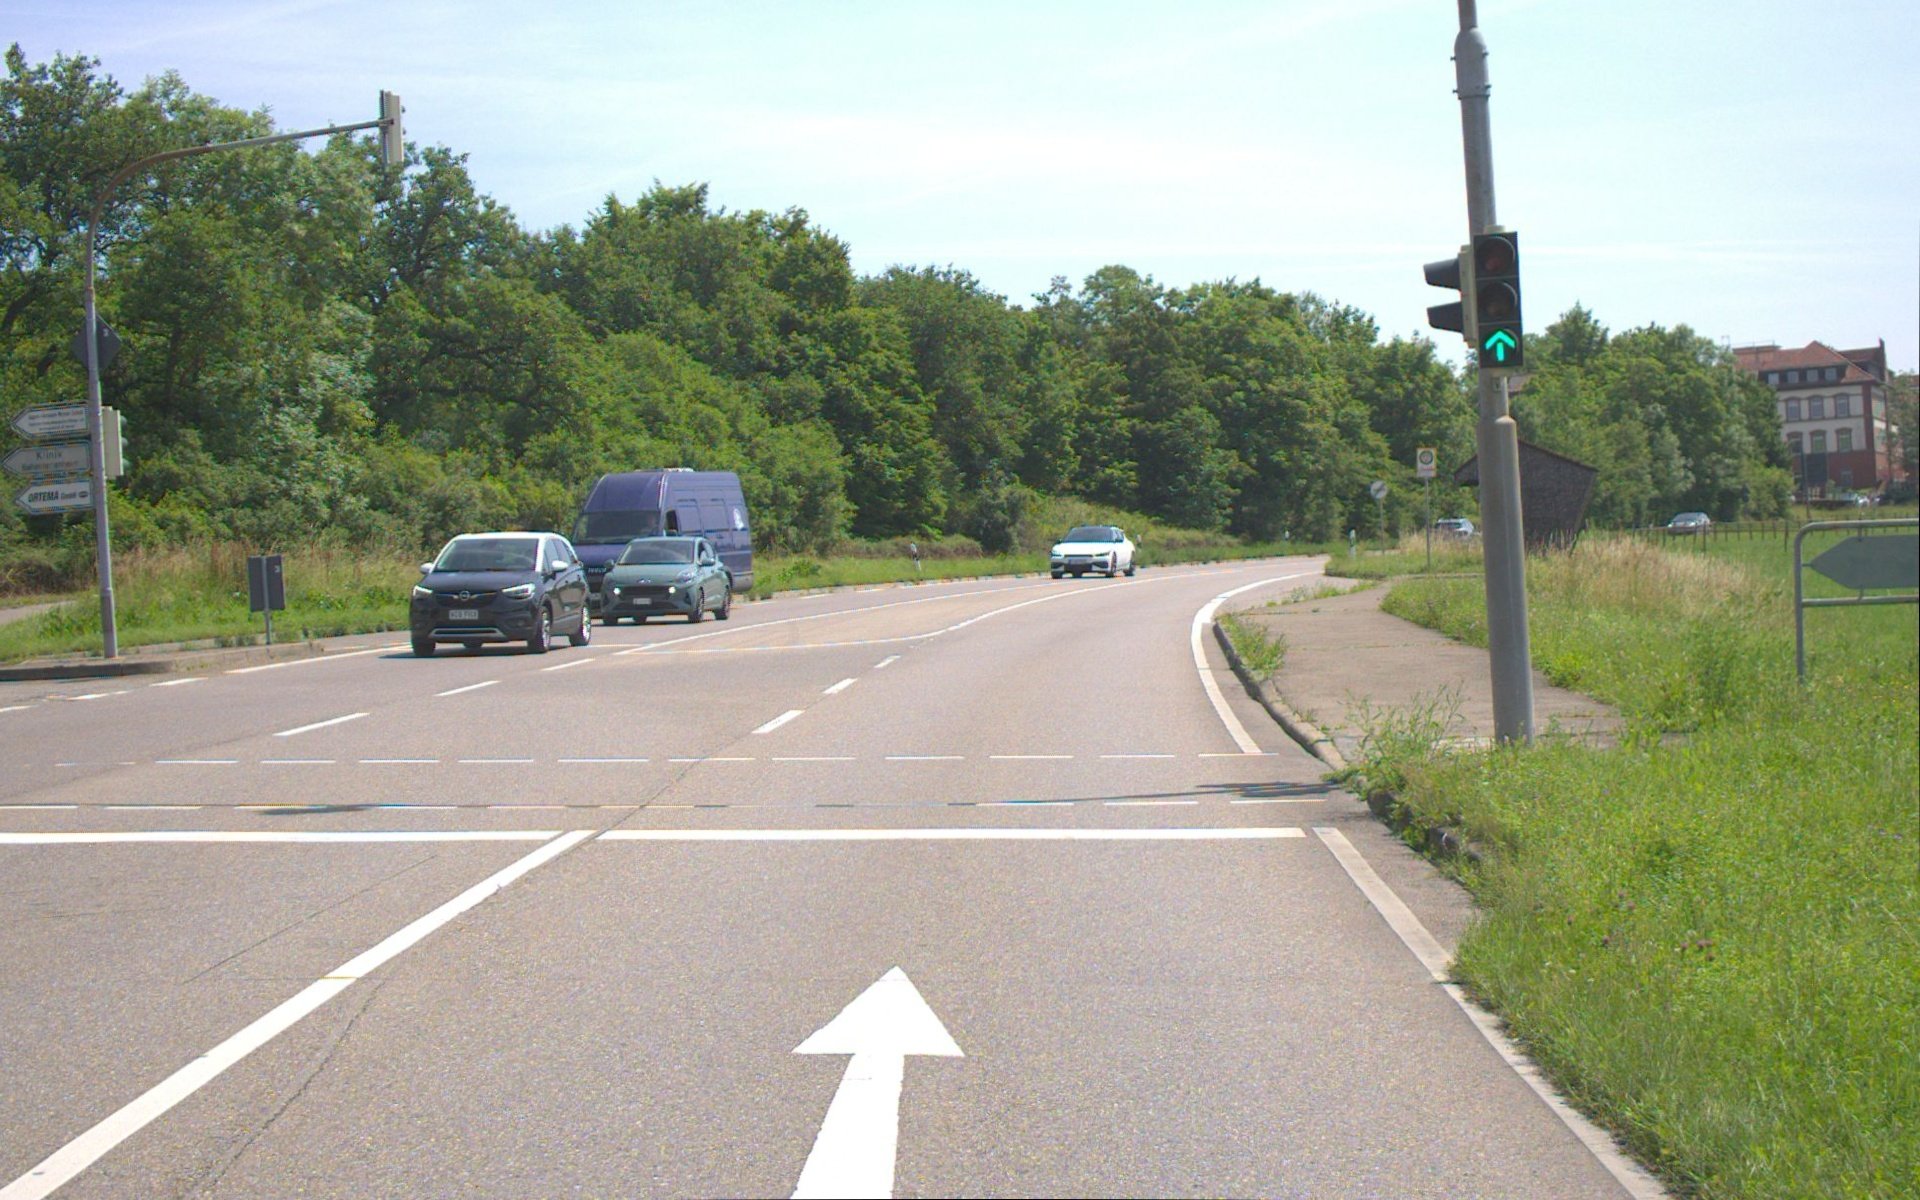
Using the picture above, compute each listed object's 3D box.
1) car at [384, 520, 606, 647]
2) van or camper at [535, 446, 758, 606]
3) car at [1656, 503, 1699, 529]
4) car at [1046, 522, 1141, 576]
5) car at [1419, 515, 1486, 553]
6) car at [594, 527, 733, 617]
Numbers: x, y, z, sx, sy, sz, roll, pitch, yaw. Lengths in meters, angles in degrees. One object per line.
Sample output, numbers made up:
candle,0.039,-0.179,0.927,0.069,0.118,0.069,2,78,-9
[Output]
car,-6.049,-0.248,45.167,1.974,1.557,4.188,-1,1,5
van or camper,-6.019,-1.520,67.141,2.241,2.904,7.244,-1,2,12
car,43.344,-5.090,207.728,1.756,1.529,4.223,-1,1,23
car,4.042,-1.553,103.533,1.938,1.543,4.625,-1,1,14
car,21.158,-2.855,147.620,1.995,1.568,3.996,-1,1,21
car,-5.064,-0.504,59.106,1.707,1.478,3.832,-1,1,5
